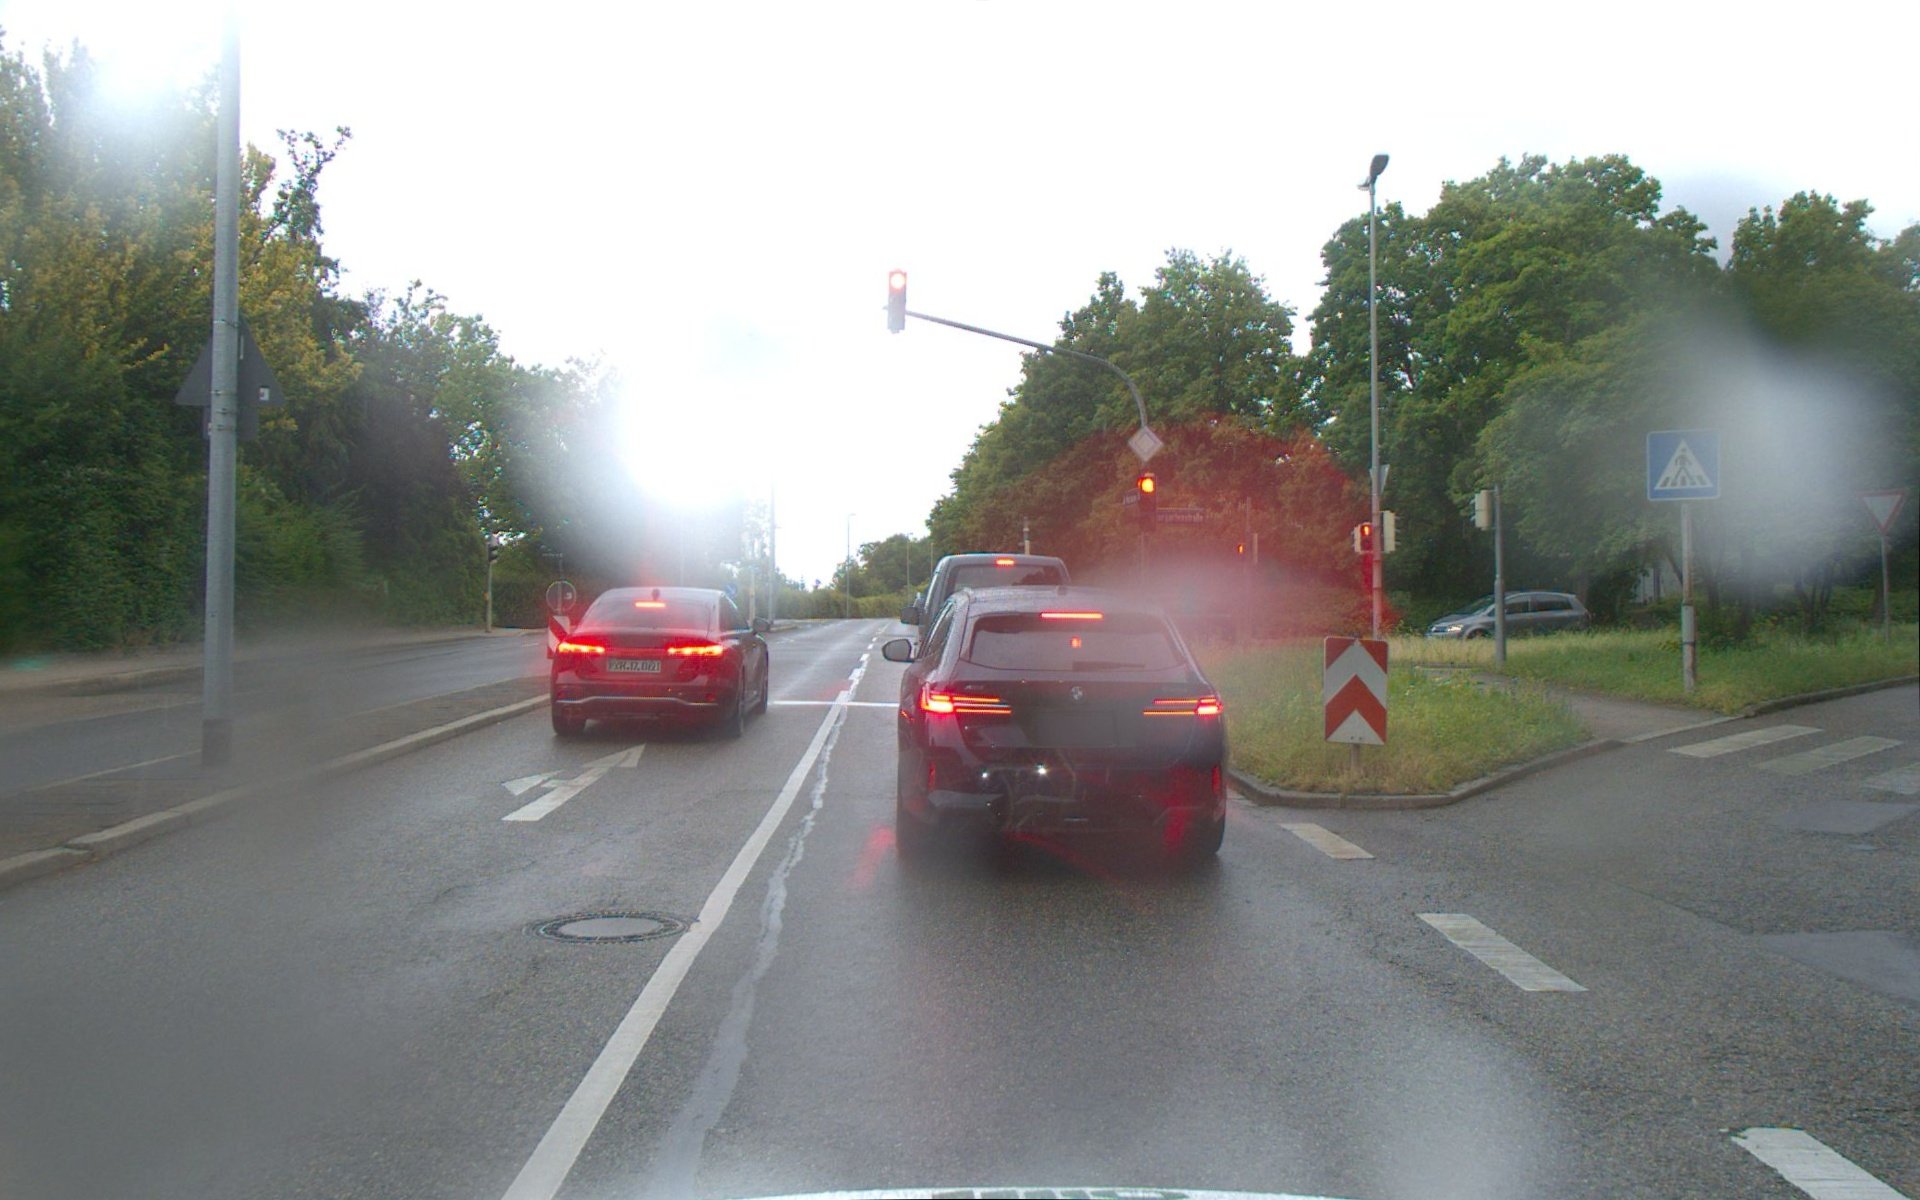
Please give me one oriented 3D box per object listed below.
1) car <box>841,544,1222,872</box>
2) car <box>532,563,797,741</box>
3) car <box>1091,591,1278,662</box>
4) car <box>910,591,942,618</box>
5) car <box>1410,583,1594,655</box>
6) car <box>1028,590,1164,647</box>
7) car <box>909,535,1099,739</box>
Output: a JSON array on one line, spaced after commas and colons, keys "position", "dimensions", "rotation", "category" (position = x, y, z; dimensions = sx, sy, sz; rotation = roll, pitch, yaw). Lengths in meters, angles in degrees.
[{"position": [0.459, 0.560, 10.516], "dimensions": [1.858, 1.578, 4.616], "rotation": [1, -1, 3], "category": "car"}, {"position": [-2.894, 0.471, 17.152], "dimensions": [1.953, 1.554, 4.327], "rotation": [-1, 0, 0], "category": "car"}, {"position": [5.185, 0.589, 38.439], "dimensions": [3.914, 1.535, 1.897], "rotation": [-1, 0, -10], "category": "car"}, {"position": [-2.168, 0.262, 106.196], "dimensions": [1.953, 1.652, 3.952], "rotation": [-1, 0, 0], "category": "car"}, {"position": [13.337, 0.435, 40.760], "dimensions": [3.946, 1.630, 1.744], "rotation": [-1, 0, -10], "category": "car"}, {"position": [3.716, 0.494, 44.979], "dimensions": [3.427, 1.452, 1.704], "rotation": [-2, 0, 13], "category": "car"}, {"position": [0.410, 0.356, 17.730], "dimensions": [1.781, 1.901, 3.952], "rotation": [1, 0, 0], "category": "car"}]
